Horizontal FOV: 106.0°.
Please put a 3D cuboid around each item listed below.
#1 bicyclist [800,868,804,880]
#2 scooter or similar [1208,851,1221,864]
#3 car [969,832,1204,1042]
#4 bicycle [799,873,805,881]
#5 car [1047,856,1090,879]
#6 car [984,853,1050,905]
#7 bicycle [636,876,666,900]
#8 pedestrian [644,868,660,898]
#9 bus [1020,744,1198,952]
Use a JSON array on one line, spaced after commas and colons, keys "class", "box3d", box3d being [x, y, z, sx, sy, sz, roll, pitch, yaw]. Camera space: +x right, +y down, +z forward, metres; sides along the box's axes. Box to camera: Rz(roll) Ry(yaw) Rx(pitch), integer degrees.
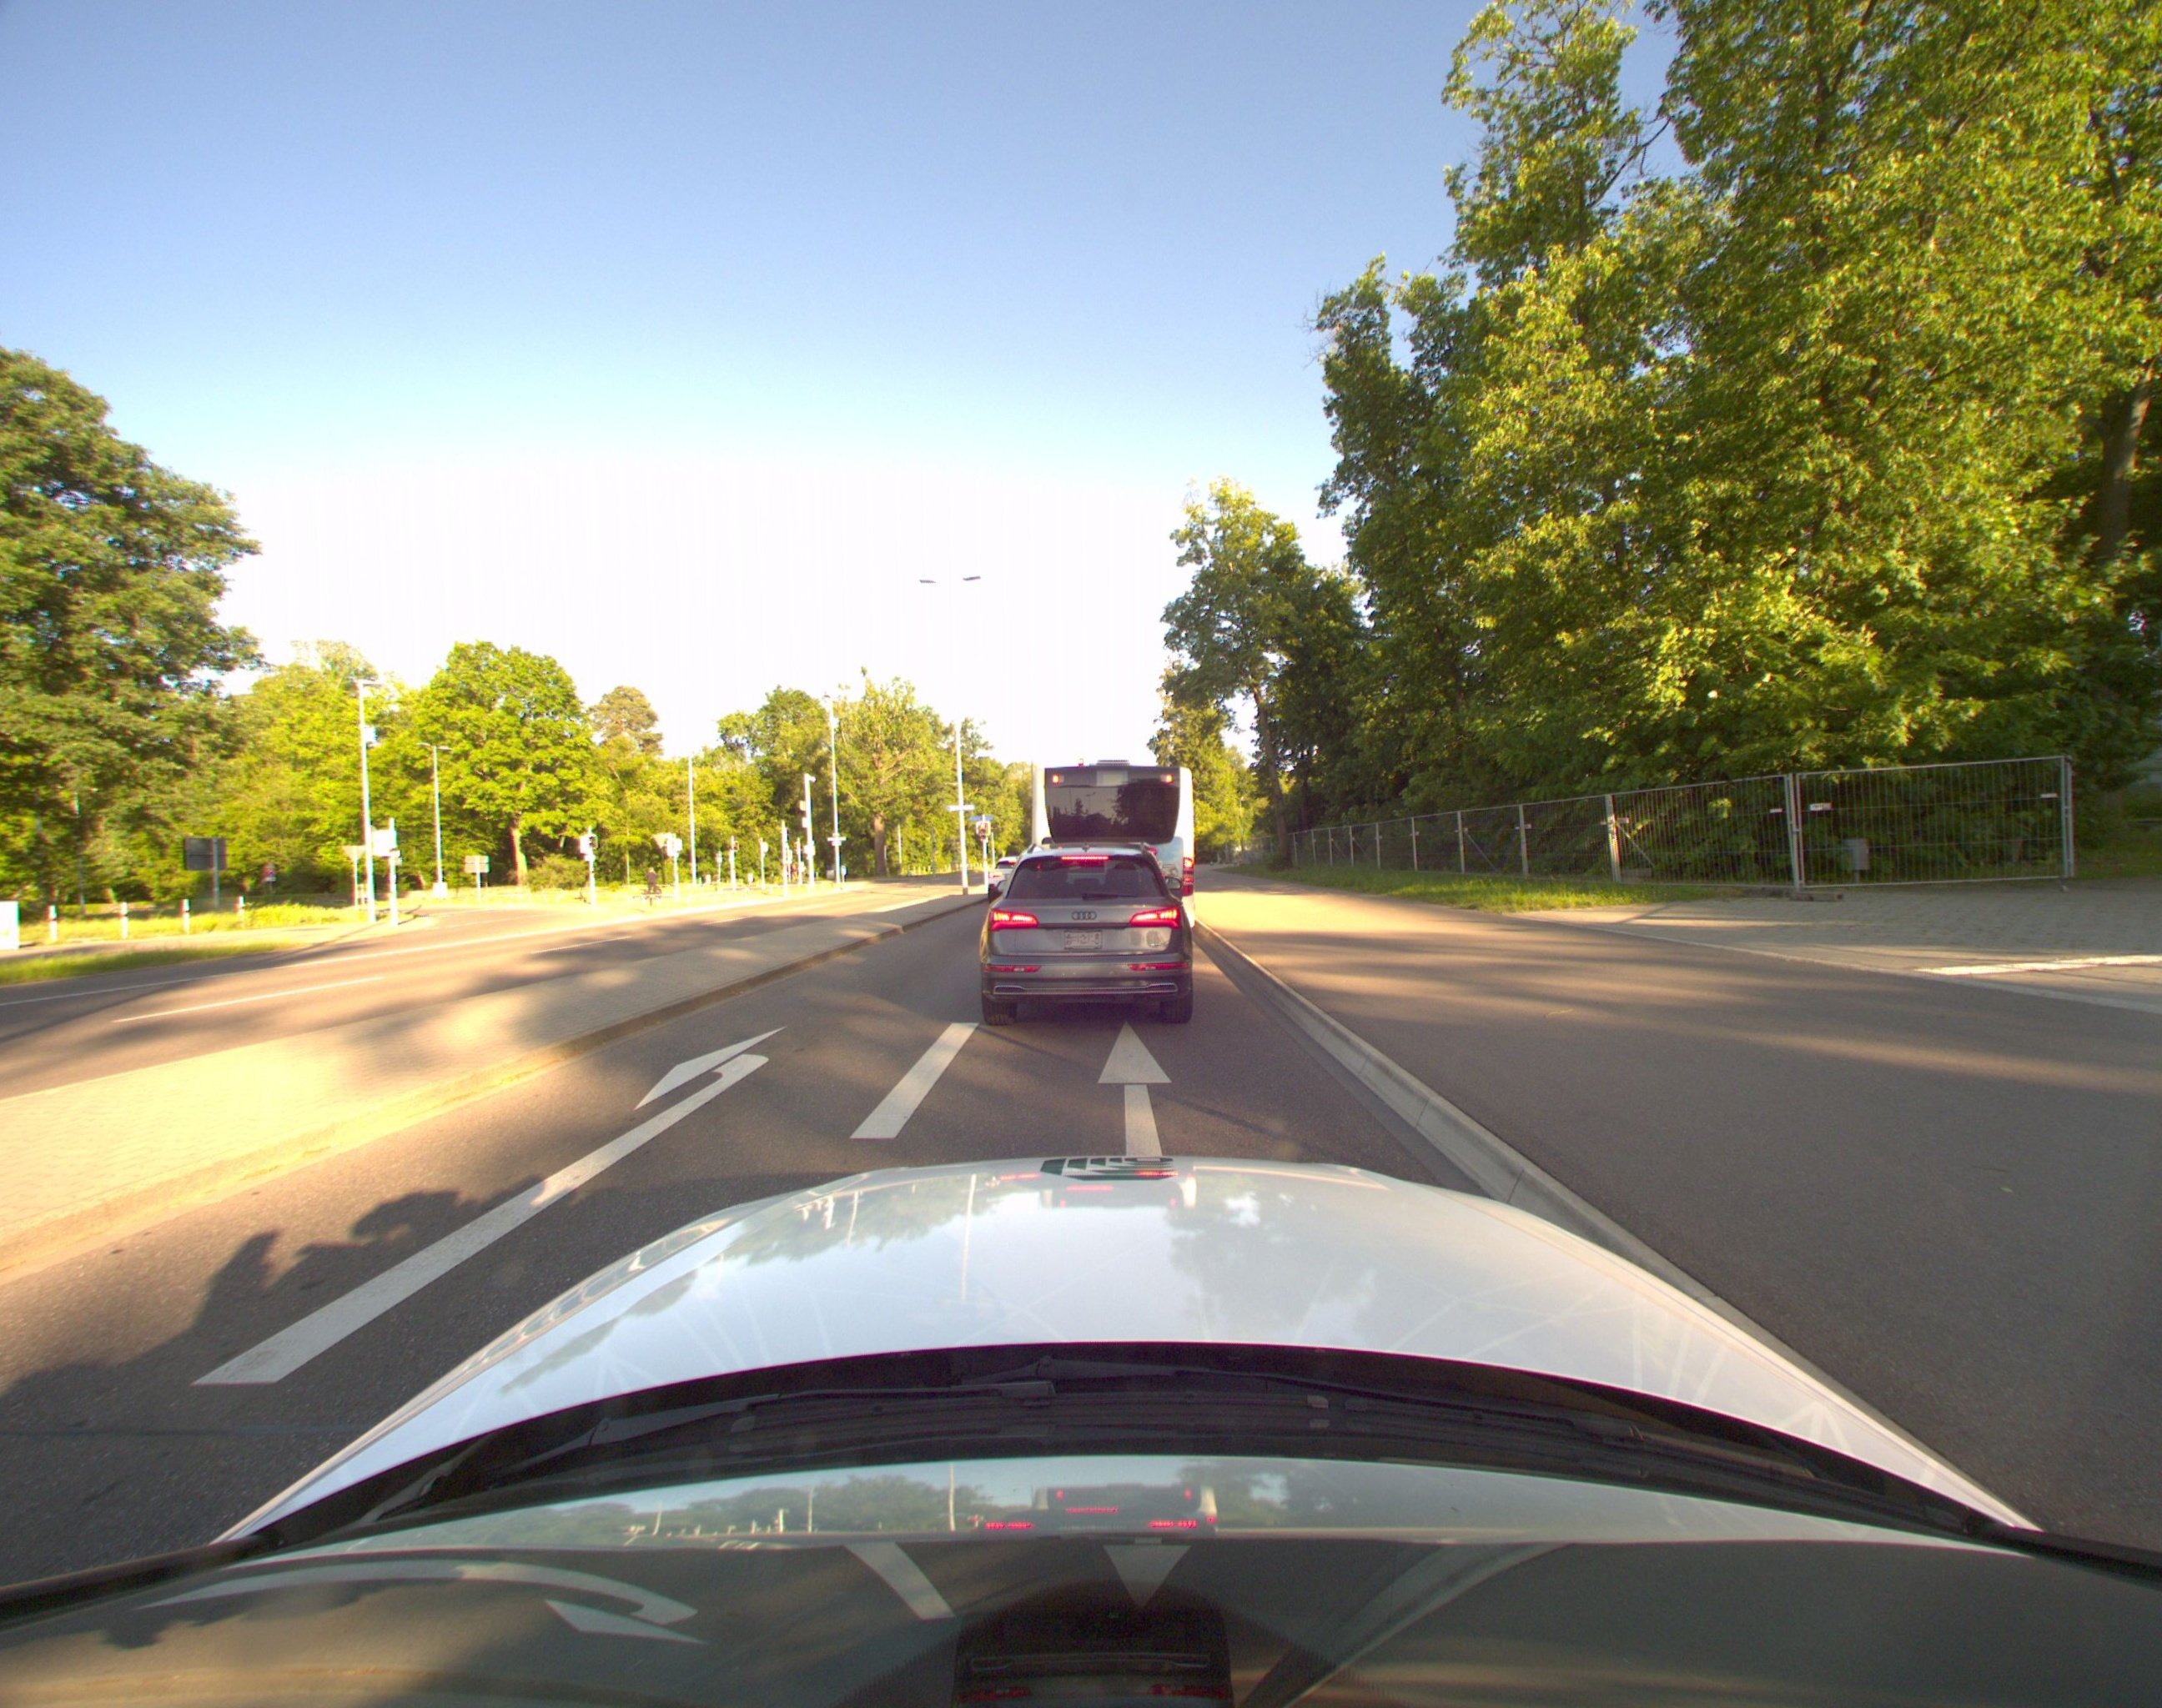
[{"class": "bicyclist", "box3d": [-22.204, 1.592, 64.873, 0.272, 0.963, 0.240, 0, -1, -3]}, {"class": "scooter or similar", "box3d": [12.774, 0.329, 77.848, 1.175, 1.174, 0.661, 0, 0, 13]}, {"class": "car", "box3d": [0.110, 0.641, 8.494, 1.861, 1.663, 4.002, 0, 0, 2]}, {"class": "bicycle", "box3d": [-22.205, 1.813, 64.848, 0.266, 0.581, 0.838, 0, -1, -4]}, {"class": "car", "box3d": [-0.888, 0.995, 60.745, 1.978, 1.652, 4.346, -1, -1, 16]}, {"class": "car", "box3d": [-2.094, 0.789, 27.765, 1.801, 1.572, 4.002, 0, 1, 2]}, {"class": "bicycle", "box3d": [-22.711, 1.797, 43.042, 0.466, 1.178, 2.005, 0, -1, 2]}, {"class": "pedestrian", "box3d": [-22.715, 1.547, 43.093, 0.480, 1.562, 0.649, 0, -1, 1]}, {"class": "bus", "box3d": [0.582, -0.112, 15.303, 2.667, 3.142, 5.887, 0, 0, 3]}]
